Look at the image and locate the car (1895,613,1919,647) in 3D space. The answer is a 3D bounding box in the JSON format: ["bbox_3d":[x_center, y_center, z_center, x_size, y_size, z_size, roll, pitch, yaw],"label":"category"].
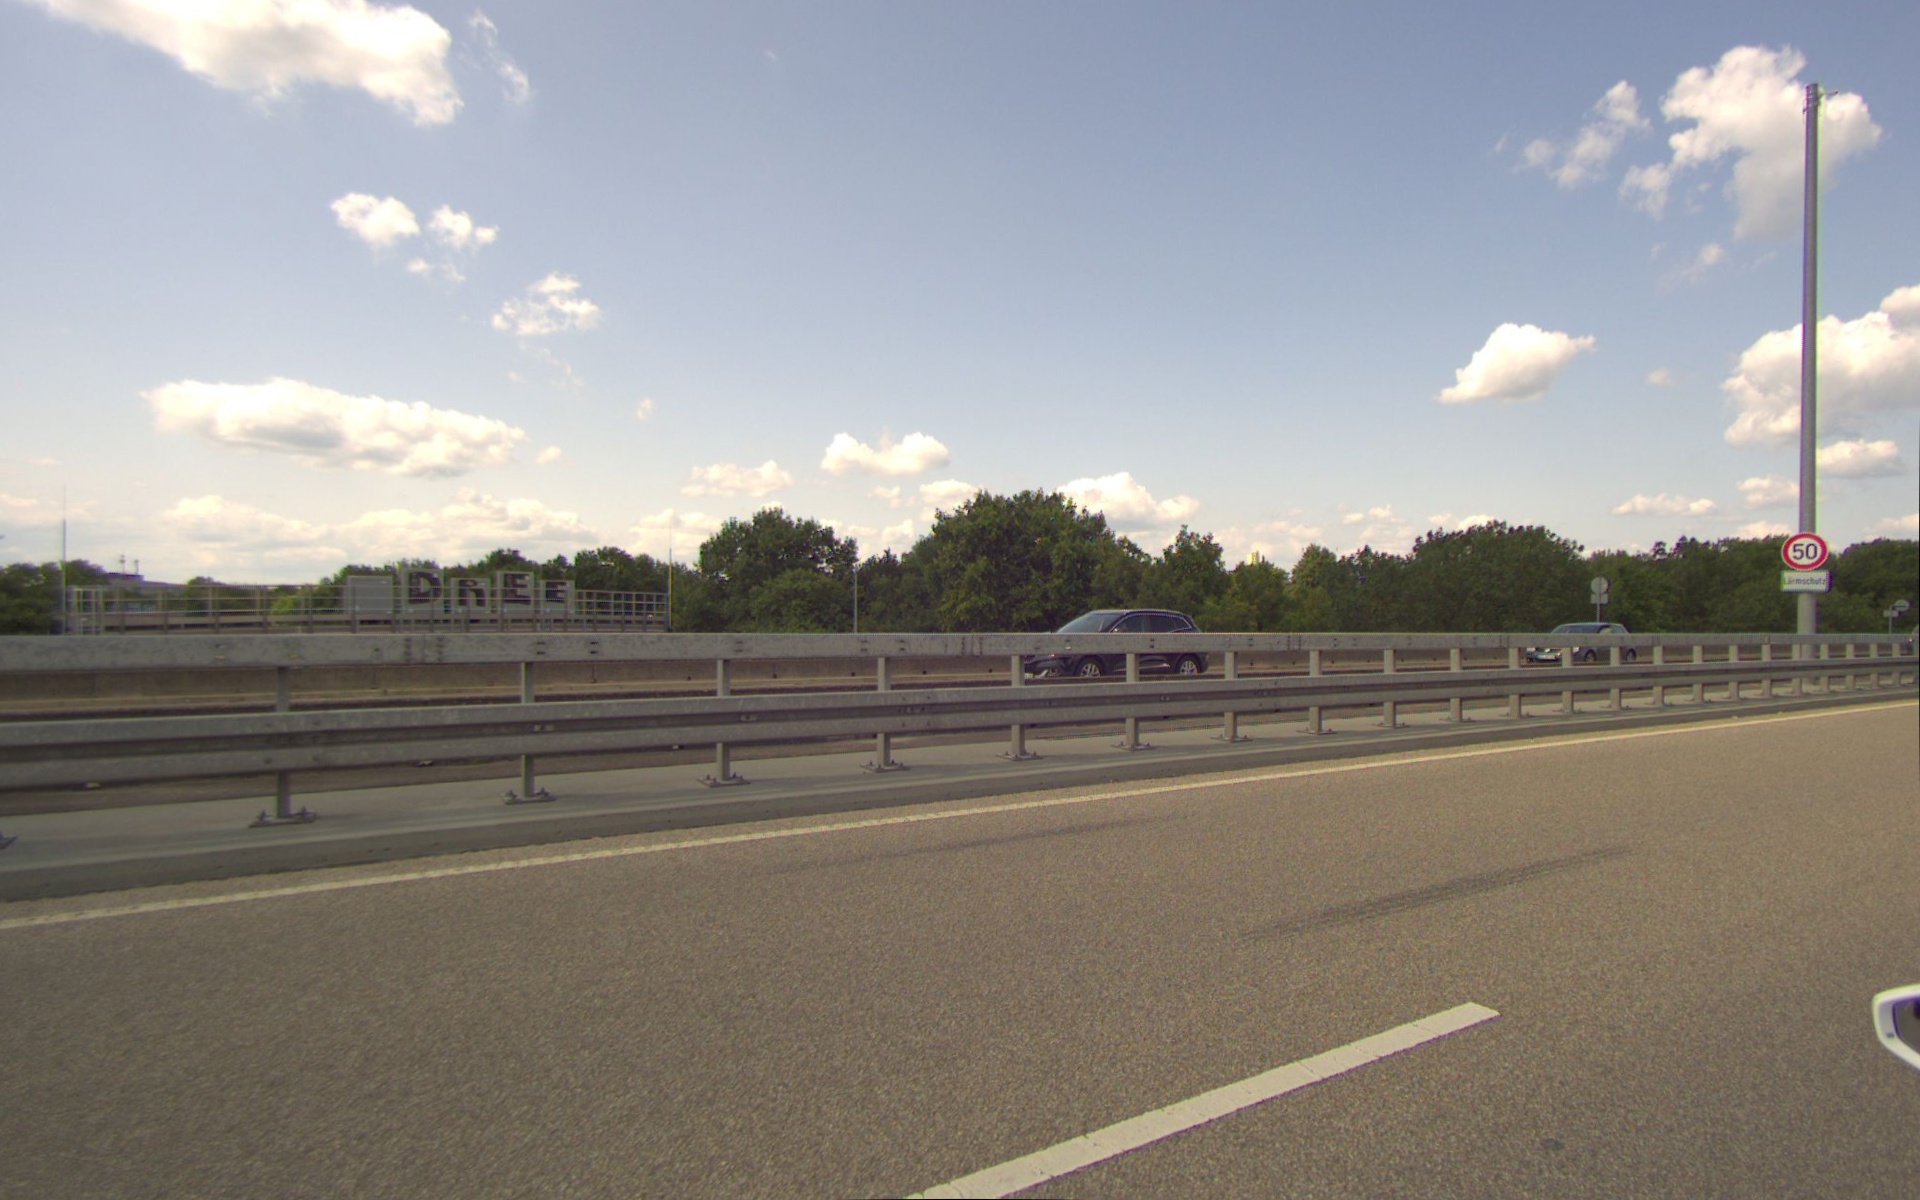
[{"bbox_3d":[49.989,1.566,51.571,3.958,1.662,1.981,1,1,-34],"label":"car"}]

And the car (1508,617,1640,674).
[{"bbox_3d":[19.143,1.372,31.295,3.957,1.595,1.982,1,1,-33],"label":"car"}]

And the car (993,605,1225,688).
[{"bbox_3d":[3.031,0.881,20.152,4.468,1.483,1.902,1,0,-32],"label":"car"}]
